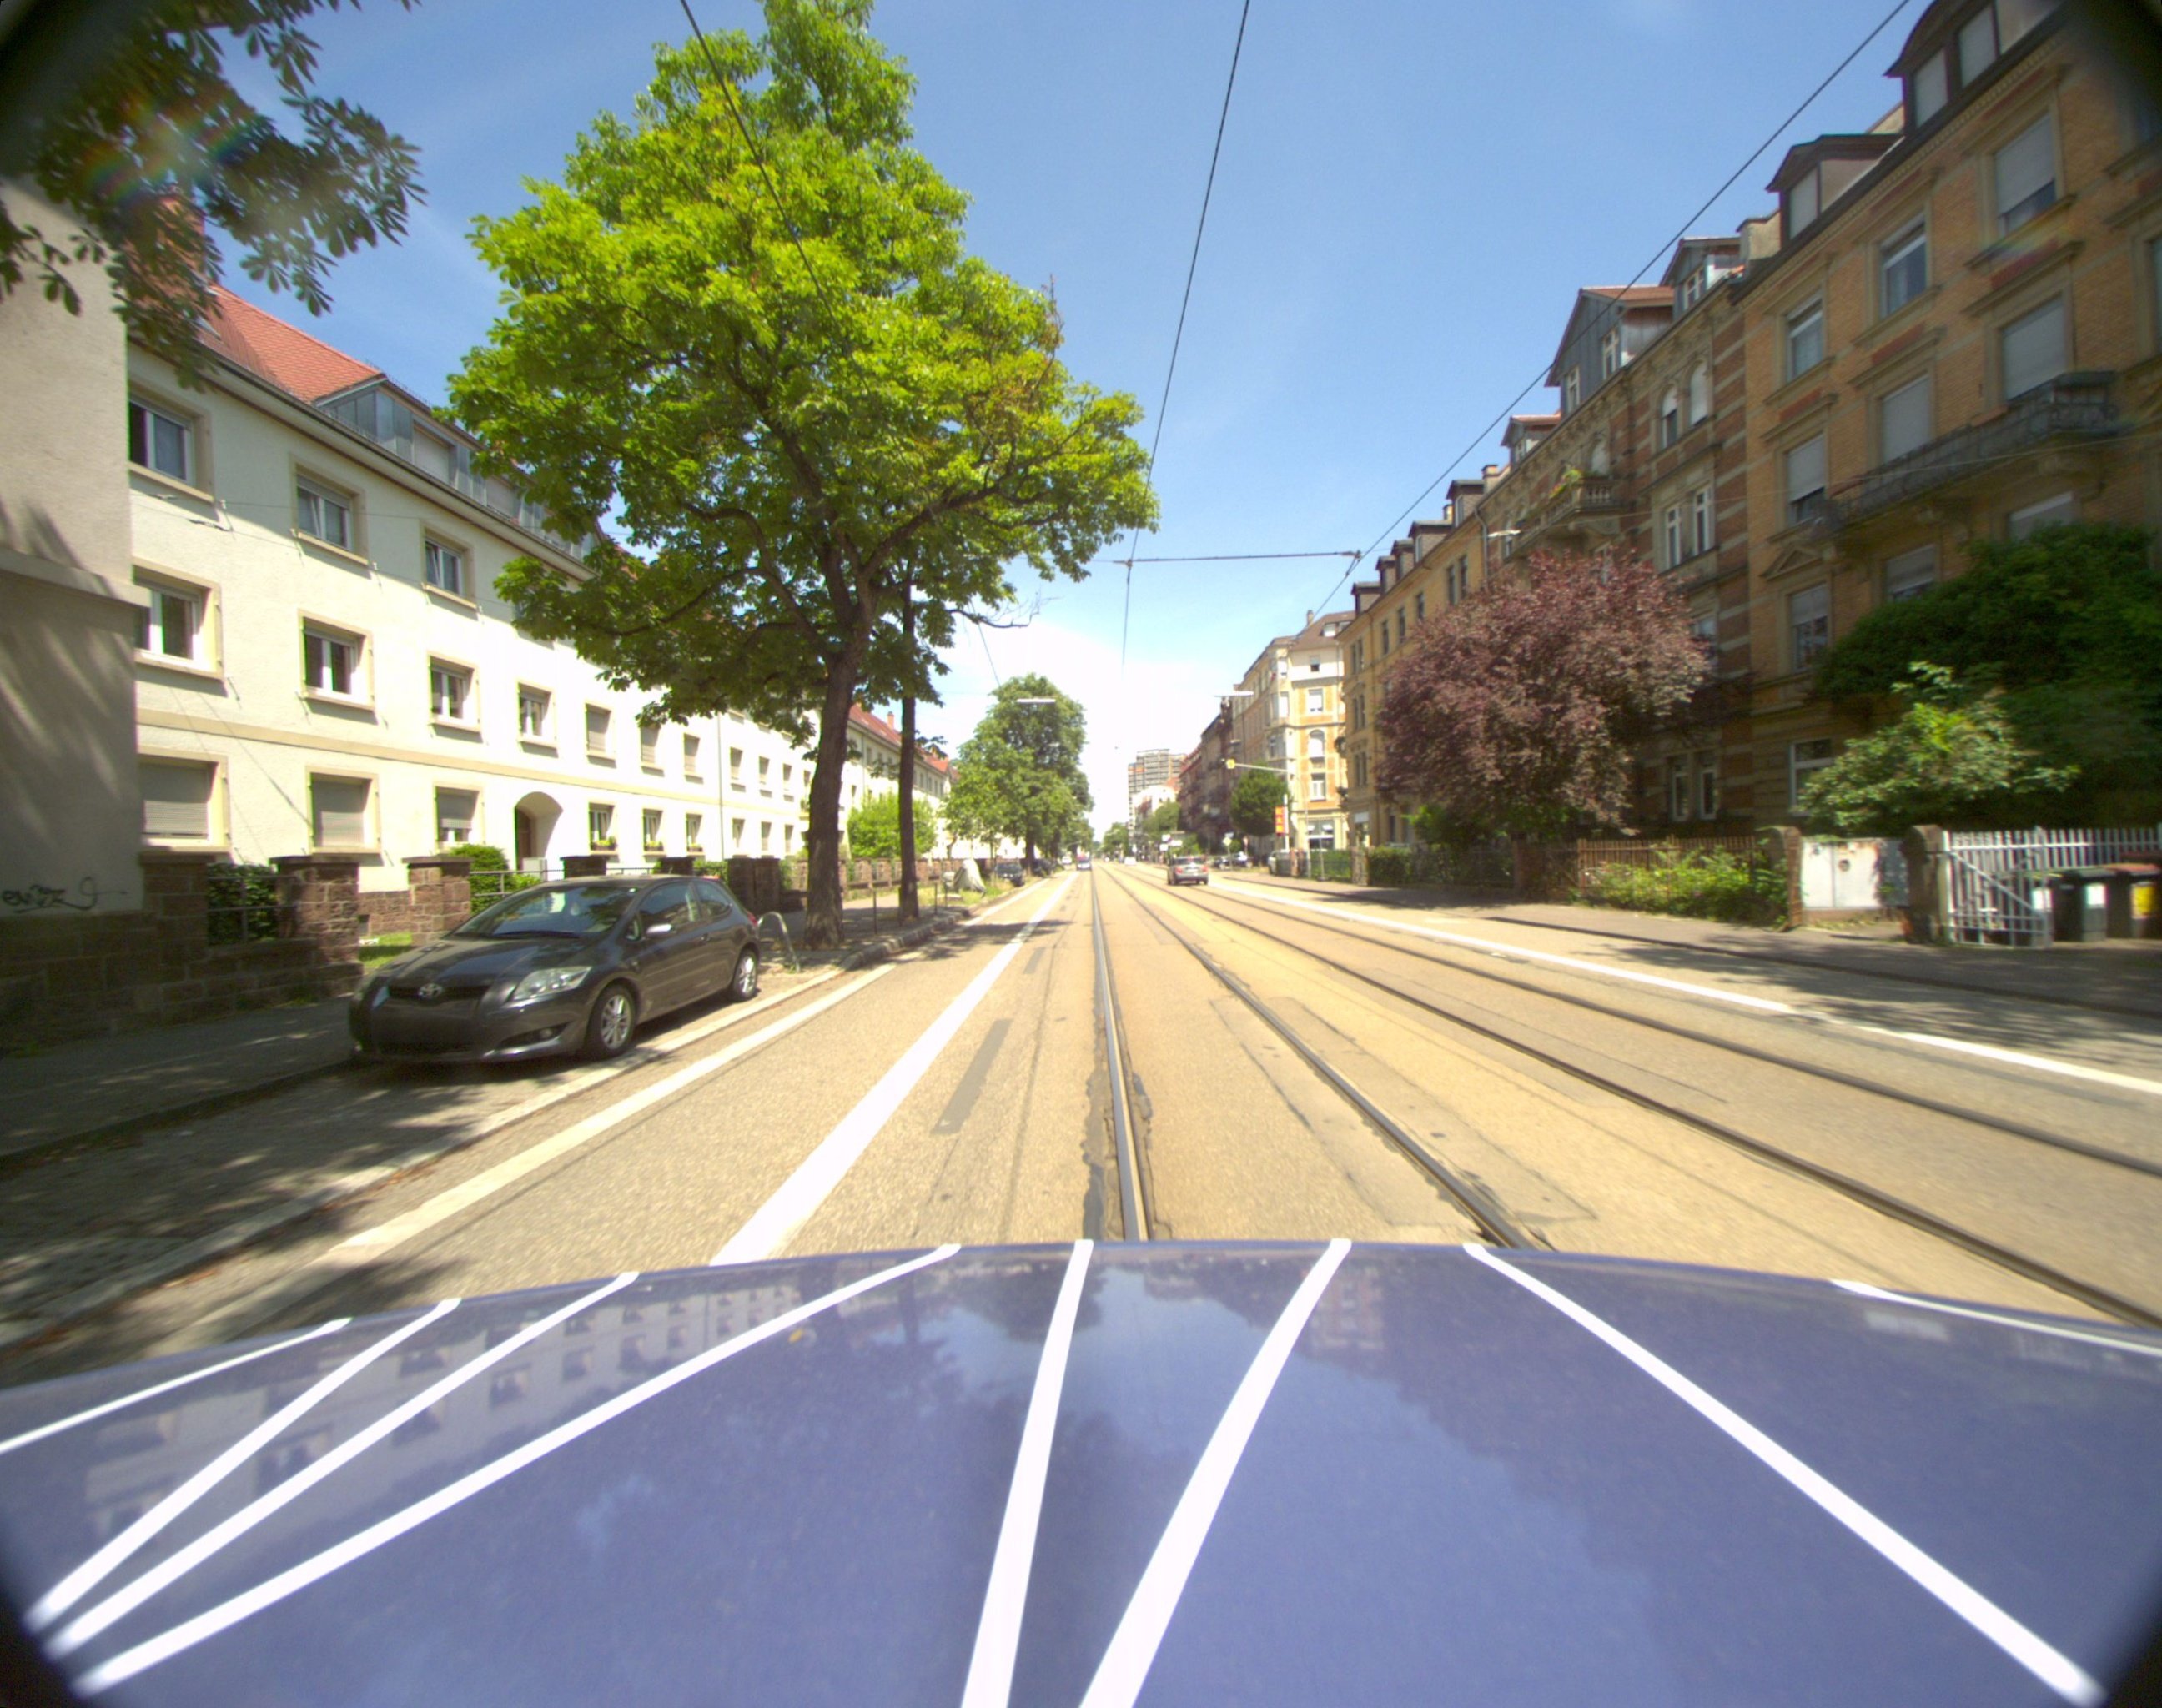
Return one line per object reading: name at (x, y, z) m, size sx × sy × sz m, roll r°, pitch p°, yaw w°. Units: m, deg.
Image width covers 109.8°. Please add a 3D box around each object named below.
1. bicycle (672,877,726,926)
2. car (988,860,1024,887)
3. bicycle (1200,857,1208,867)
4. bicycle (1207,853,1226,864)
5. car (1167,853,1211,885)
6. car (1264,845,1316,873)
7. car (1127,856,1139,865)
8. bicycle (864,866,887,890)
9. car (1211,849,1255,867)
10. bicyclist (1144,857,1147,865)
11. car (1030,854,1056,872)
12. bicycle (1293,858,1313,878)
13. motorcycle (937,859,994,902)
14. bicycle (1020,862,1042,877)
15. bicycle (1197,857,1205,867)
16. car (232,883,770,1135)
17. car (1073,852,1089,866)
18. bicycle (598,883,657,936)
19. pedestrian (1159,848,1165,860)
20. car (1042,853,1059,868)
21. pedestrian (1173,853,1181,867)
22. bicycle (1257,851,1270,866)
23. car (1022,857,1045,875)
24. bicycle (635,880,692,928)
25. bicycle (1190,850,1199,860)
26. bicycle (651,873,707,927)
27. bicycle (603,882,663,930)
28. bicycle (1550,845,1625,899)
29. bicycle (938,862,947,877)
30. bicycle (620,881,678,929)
bicycle at (-9.136, 1.114, 18.221) m, size 0.460 × 1.050 × 1.564 m, roll -1°, pitch 0°, yaw 1°
car at (-4.356, 1.103, 44.720) m, size 1.774 × 1.418 × 4.861 m, roll -2°, pitch 0°, yaw -2°
bicycle at (12.088, 0.774, 74.870) m, size 0.440 × 0.978 × 1.710 m, roll -2°, pitch 0°, yaw -1°
bicycle at (13.102, 0.441, 73.470) m, size 1.709 × 1.031 × 0.551 m, roll -2°, pitch 0°, yaw 5°
car at (5.486, 0.738, 38.891) m, size 1.690 × 1.446 × 3.748 m, roll -2°, pitch 0°, yaw 1°
car at (13.342, 0.322, 48.798) m, size 1.871 × 1.591 × 4.100 m, roll -4°, pitch 0°, yaw -4°
car at (8.906, 1.118, 130.826) m, size 1.760 × 1.416 × 4.000 m, roll -1°, pitch 0°, yaw 1°
bicycle at (-10.054, 1.150, 37.291) m, size 0.500 × 1.096 × 1.807 m, roll -2°, pitch 0°, yaw 3°
car at (14.253, 0.359, 71.446) m, size 3.769 × 1.420 × 1.713 m, roll -3°, pitch 1°, yaw 1°
bicyclist at (12.940, 1.423, 151.924) m, size 0.594 × 1.535 × 0.952 m, roll -1°, pitch 0°, yaw 0°
car at (-3.642, 0.812, 73.848) m, size 1.952 × 1.641 × 4.881 m, roll -2°, pitch 0°, yaw 4°
bicycle at (11.606, 0.697, 39.768) m, size 0.455 × 0.997 × 1.806 m, roll -2°, pitch 0°, yaw -3°
motorcycle at (-4.434, 1.011, 29.109) m, size 2.314 × 1.531 × 0.871 m, roll -2°, pitch 0°, yaw 44°
bicycle at (-3.886, 1.197, 59.300) m, size 1.658 × 1.072 × 0.606 m, roll -2°, pitch 0°, yaw -6°
bicycle at (12.129, 0.762, 76.911) m, size 0.440 × 0.978 × 1.710 m, roll -2°, pitch 0°, yaw -1°
car at (-4.721, 1.107, 7.193) m, size 1.778 × 1.492 × 4.305 m, roll -1°, pitch 0°, yaw 0°
car at (-0.021, 0.630, 88.955) m, size 1.737 × 1.543 × 4.423 m, roll -2°, pitch 0°, yaw -1°
bicycle at (-9.946, 1.191, 16.722) m, size 0.460 × 1.050 × 1.563 m, roll -1°, pitch 0°, yaw -6°
pedestrian at (11.437, 0.003, 107.250) m, size 0.874 × 1.690 × 1.014 m, roll -2°, pitch 0°, yaw 7°
car at (-3.354, 0.746, 84.766) m, size 1.737 × 1.543 × 4.453 m, roll -2°, pitch 0°, yaw -1°
pedestrian at (12.117, 0.794, 95.946) m, size 0.853 × 1.713 × 1.138 m, roll -5°, pitch 0°, yaw 1°
bicycle at (15.537, 0.366, 64.624) m, size 0.500 × 1.221 × 1.853 m, roll -1°, pitch 3°, yaw 29°
car at (-3.938, 0.996, 63.872) m, size 1.699 × 1.410 × 4.356 m, roll -2°, pitch 0°, yaw -2°
bicycle at (-10.039, 1.176, 18.323) m, size 0.460 × 1.050 × 1.564 m, roll -1°, pitch 0°, yaw 1°
bicycle at (12.258, 0.123, 82.046) m, size 0.498 × 0.981 × 1.710 m, roll -6°, pitch 0°, yaw -1°
bicycle at (-9.663, 1.082, 18.322) m, size 0.460 × 1.184 × 1.564 m, roll -1°, pitch 0°, yaw 1°
bicycle at (-10.756, 1.228, 18.284) m, size 0.460 × 1.050 × 1.564 m, roll -1°, pitch 0°, yaw 1°
bicycle at (12.622, 0.443, 18.936) m, size 1.614 × 1.180 × 0.509 m, roll -6°, pitch 1°, yaw -12°
bicycle at (-10.505, 1.140, 57.728) m, size 0.480 × 1.072 × 1.923 m, roll -2°, pitch 0°, yaw -5°
bicycle at (-10.371, 1.201, 18.290) m, size 0.460 × 1.050 × 1.564 m, roll -1°, pitch 0°, yaw 1°
